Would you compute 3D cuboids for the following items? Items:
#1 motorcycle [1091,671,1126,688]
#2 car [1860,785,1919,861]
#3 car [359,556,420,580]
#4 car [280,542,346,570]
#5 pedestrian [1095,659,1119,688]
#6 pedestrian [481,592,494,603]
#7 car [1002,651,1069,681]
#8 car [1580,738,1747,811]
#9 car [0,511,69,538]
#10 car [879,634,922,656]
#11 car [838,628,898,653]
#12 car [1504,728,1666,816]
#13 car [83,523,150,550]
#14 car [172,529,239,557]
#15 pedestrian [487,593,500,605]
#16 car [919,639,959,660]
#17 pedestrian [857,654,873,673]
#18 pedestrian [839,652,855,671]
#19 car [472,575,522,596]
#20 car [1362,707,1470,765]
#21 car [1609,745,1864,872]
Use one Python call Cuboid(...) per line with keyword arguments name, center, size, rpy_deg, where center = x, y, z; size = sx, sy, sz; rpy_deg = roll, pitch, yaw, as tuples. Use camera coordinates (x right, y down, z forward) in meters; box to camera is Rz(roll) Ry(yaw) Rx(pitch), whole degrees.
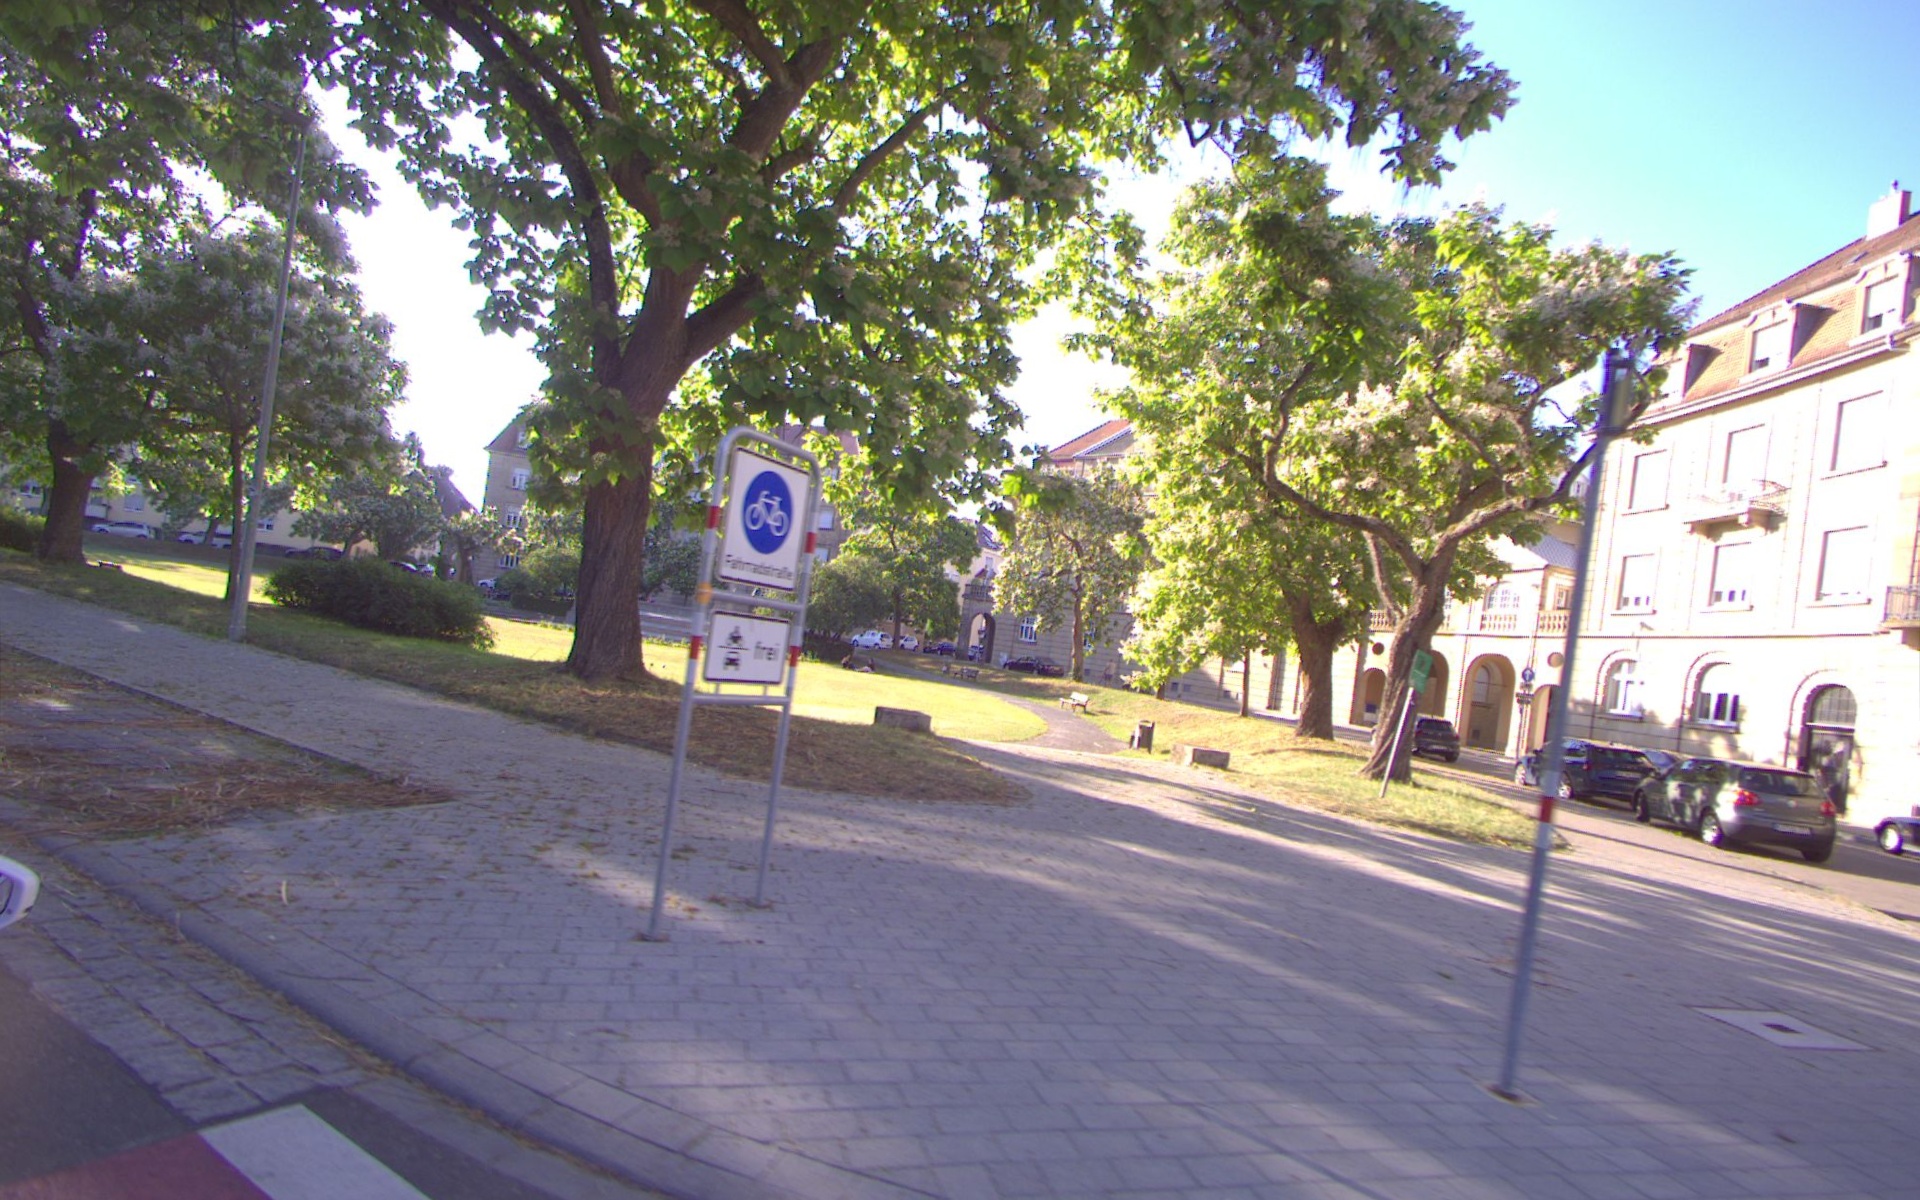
Cuboid(name="motorcycle", center=(8.415, 4.510, 57.016), size=(1.830, 0.678, 0.682), rpy_deg=(6, -2, 35))
Cuboid(name="car", center=(19.963, 4.625, 19.521), size=(1.476, 1.339, 4.460), rpy_deg=(7, -3, 10))
Cuboid(name="car", center=(-52.148, -2.943, 91.990), size=(4.292, 1.469, 1.880), rpy_deg=(8, -2, -6))
Cuboid(name="car", center=(-58.214, -3.969, 90.546), size=(4.456, 1.766, 1.876), rpy_deg=(8, -2, -15))
Cuboid(name="pedestrian", center=(8.345, 4.164, 57.103), size=(0.935, 1.492, 0.681), rpy_deg=(6, -2, 34))
Cuboid(name="pedestrian", center=(-38.729, -0.181, 82.446), size=(0.655, 0.803, 0.588), rpy_deg=(7, -2, 21))
Cuboid(name="car", center=(5.057, 4.433, 68.263), size=(1.803, 1.433, 4.908), rpy_deg=(9, -3, -33))
Cuboid(name="car", center=(21.514, 5.293, 31.036), size=(1.786, 1.433, 4.654), rpy_deg=(7, -2, 1))
Cuboid(name="car", center=(-79.877, -6.470, 86.625), size=(4.494, 1.587, 1.860), rpy_deg=(9, -3, -40))
Cuboid(name="car", center=(-5.693, 4.324, 96.535), size=(1.790, 1.641, 4.220), rpy_deg=(6, -3, 33))
Cuboid(name="car", center=(-7.453, 3.243, 81.396), size=(4.878, 1.433, 1.813), rpy_deg=(5, -3, 39))
Cuboid(name="car", center=(14.855, 4.030, 24.211), size=(1.537, 1.433, 4.445), rpy_deg=(7, -2, 9))
Cuboid(name="car", center=(-71.170, -5.364, 84.937), size=(3.960, 1.569, 1.598), rpy_deg=(9, -2, -31))
Cuboid(name="car", center=(-69.287, -5.232, 92.459), size=(4.468, 1.766, 1.871), rpy_deg=(8, -2, -23))
Cuboid(name="pedestrian", center=(-38.089, -0.088, 82.174), size=(0.655, 0.803, 0.588), rpy_deg=(7, -2, 21))
Cuboid(name="car", center=(-2.091, 5.042, 101.847), size=(1.790, 1.641, 4.220), rpy_deg=(6, -3, 33))
Cuboid(name="pedestrian", center=(-5.055, 3.374, 53.516), size=(0.570, 0.890, 0.674), rpy_deg=(9, -3, -20))
Cuboid(name="pedestrian", center=(-5.993, 3.260, 53.348), size=(0.570, 0.890, 0.674), rpy_deg=(9, -3, -20))
Cuboid(name="car", center=(-45.585, -1.385, 99.074), size=(3.926, 1.469, 1.882), rpy_deg=(7, -2, 1))
Cuboid(name="car", center=(15.758, 4.679, 35.038), size=(1.785, 1.433, 4.376), rpy_deg=(7, -2, 2))
Cuboid(name="car", center=(13.784, 3.633, 18.244), size=(1.810, 1.433, 4.374), rpy_deg=(7, -3, 12))
